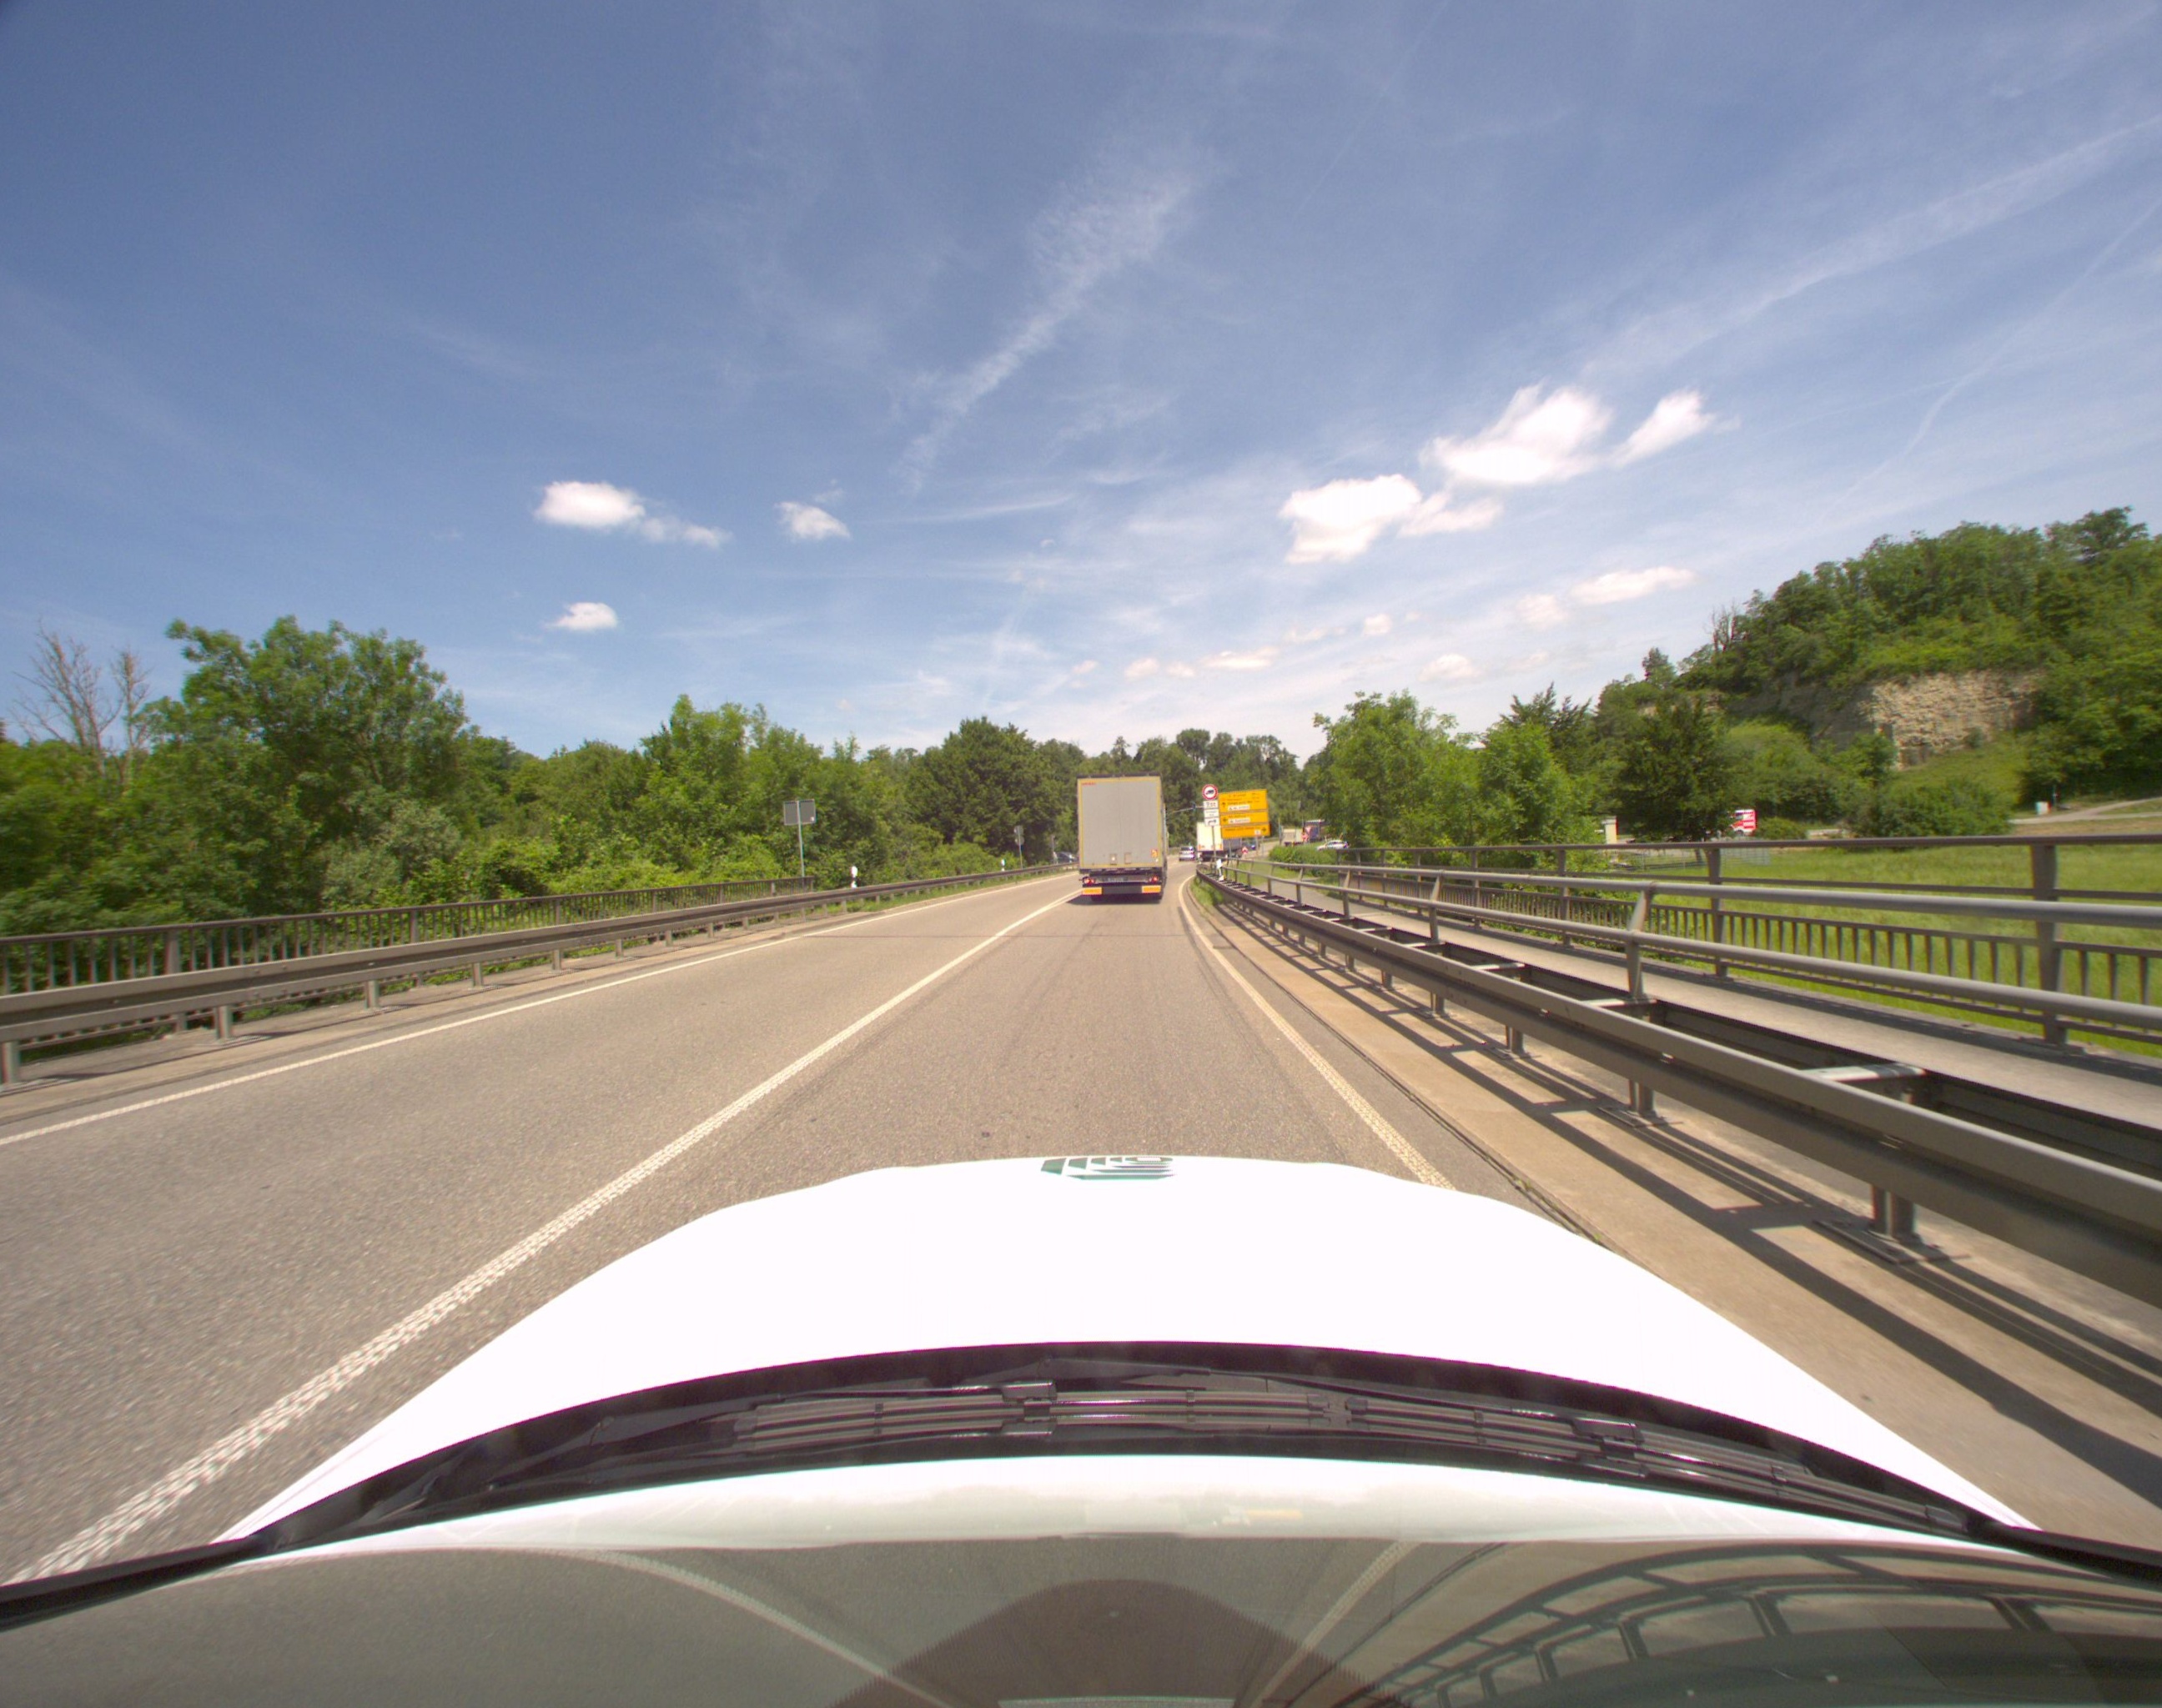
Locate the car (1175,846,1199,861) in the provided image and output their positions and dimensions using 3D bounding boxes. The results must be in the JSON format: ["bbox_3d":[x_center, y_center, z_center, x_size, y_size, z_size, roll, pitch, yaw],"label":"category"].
[{"bbox_3d":[11.517,0.004,88.256,1.978,1.519,4.017,-1,-1,16],"label":"car"}]

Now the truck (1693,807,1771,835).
[{"bbox_3d":[68.322,-3.431,85.608,5.958,2.728,2.515,-1,-1,23],"label":"truck"}]

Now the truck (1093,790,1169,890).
[{"bbox_3d":[2.295,-0.571,36.781,3.024,4.034,6.637,-2,0,4],"label":"truck"}]

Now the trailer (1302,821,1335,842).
[{"bbox_3d":[44.544,-4.195,152.483,3.220,3.685,9.310,-1,1,35],"label":"trailer"}]

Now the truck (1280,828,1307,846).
[{"bbox_3d":[35.738,-2.873,136.929,2.828,2.947,7.148,-1,1,28],"label":"truck"}]

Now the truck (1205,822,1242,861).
[{"bbox_3d":[15.657,-1.330,89.135,3.144,4.004,5.841,-2,-1,17],"label":"truck"}]

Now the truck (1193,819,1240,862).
[{"bbox_3d":[14.122,-1.335,84.141,3.154,4.029,11.797,-2,0,17],"label":"truck"}]

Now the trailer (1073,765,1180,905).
[{"bbox_3d":[1.795,-0.554,30.336,3.038,4.034,12.573,-2,0,4],"label":"trailer"}]

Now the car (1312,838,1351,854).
[{"bbox_3d":[30.292,-0.946,98.358,4.392,1.718,2.009,-1,-1,18],"label":"car"}]

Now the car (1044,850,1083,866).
[{"bbox_3d":[-2.101,0.442,97.635,4.196,1.770,2.011,-2,0,22],"label":"car"}]
